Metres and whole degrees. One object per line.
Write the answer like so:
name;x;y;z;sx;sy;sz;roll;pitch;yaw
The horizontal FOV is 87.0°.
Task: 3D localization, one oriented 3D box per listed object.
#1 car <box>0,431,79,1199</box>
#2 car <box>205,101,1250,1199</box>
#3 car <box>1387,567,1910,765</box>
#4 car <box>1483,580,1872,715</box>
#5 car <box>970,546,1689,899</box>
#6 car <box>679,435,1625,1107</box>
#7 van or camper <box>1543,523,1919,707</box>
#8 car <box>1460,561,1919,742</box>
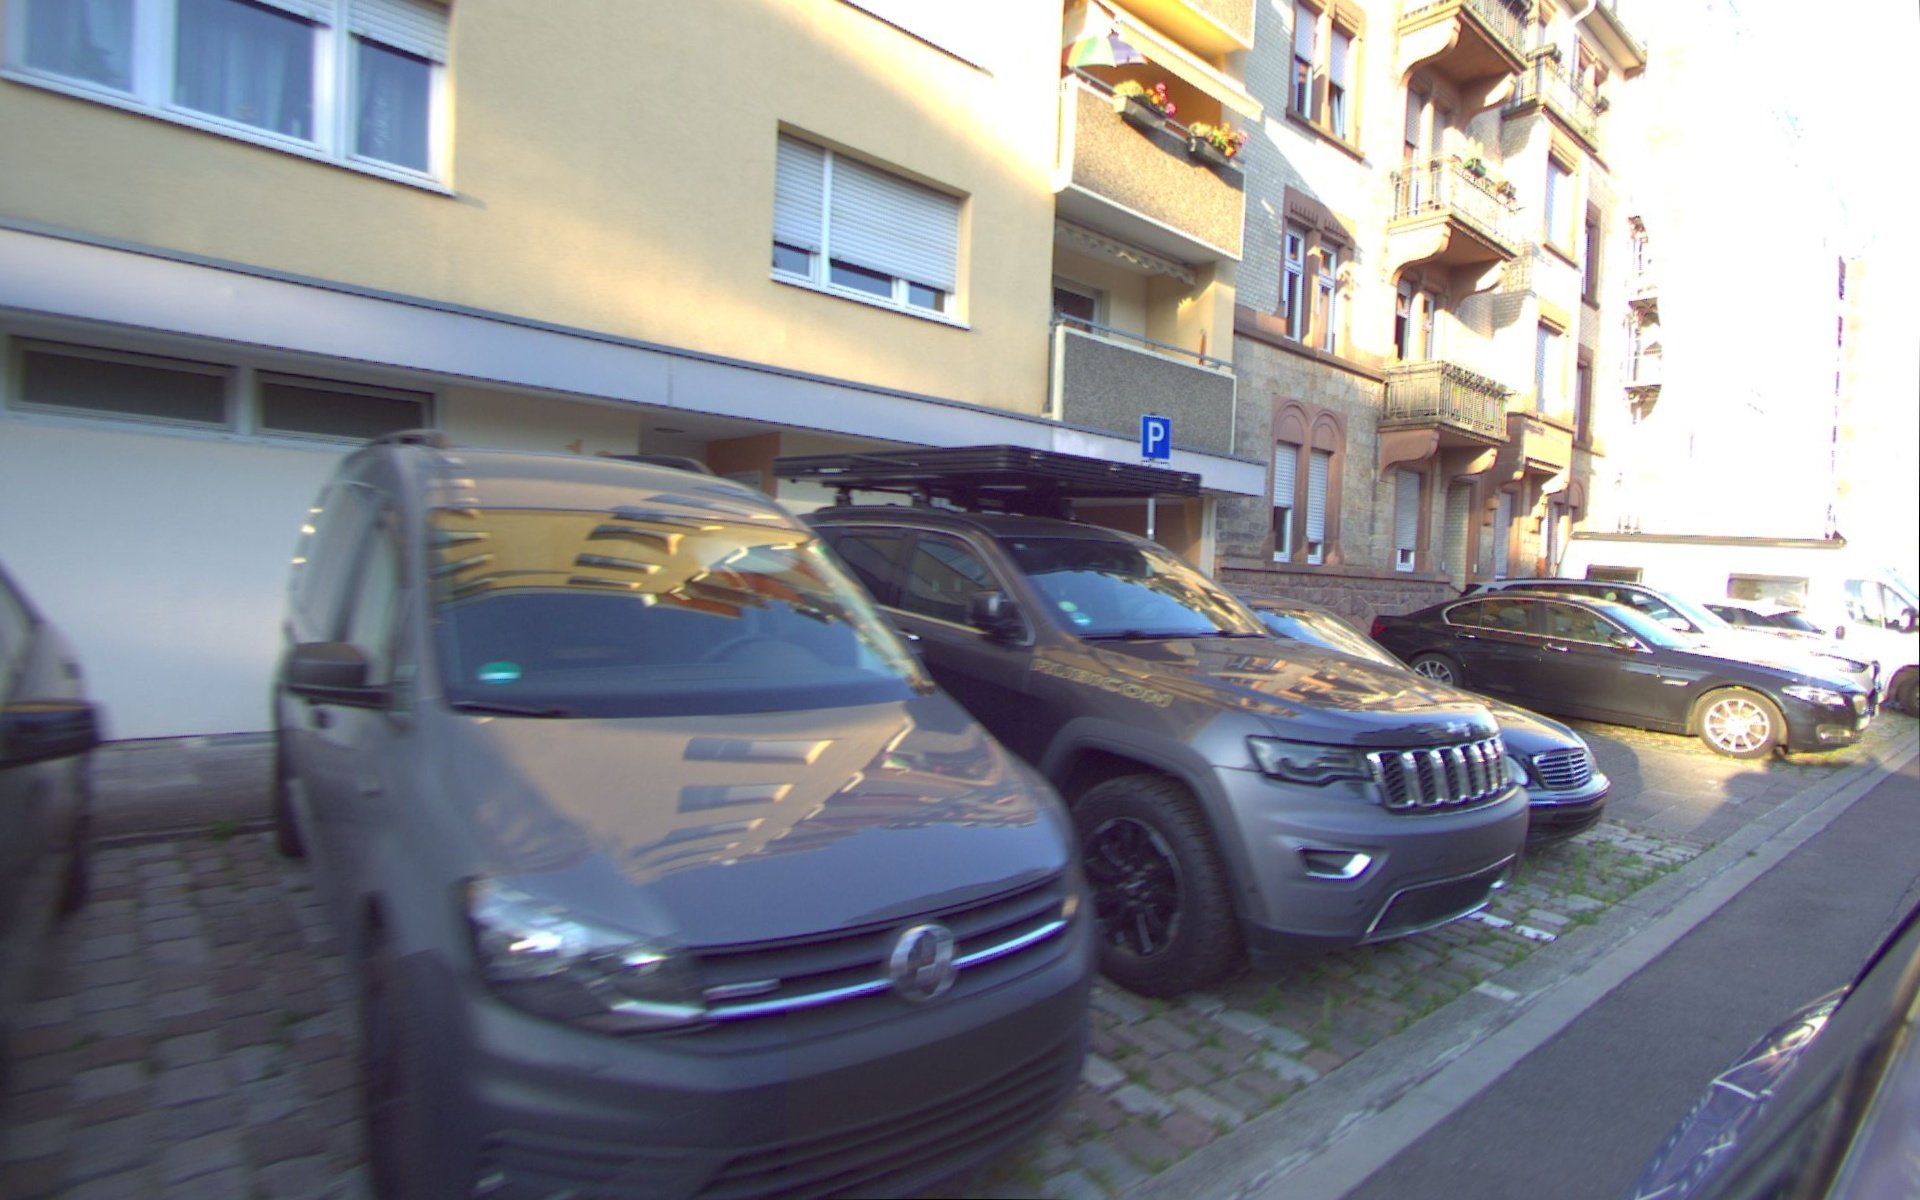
car;-3.105;0.478;2.127;1.814;1.581;4.414;-1;5;-40
car;-1.480;0.164;3.759;1.813;2.005;4.648;-1;5;-40
car;7.340;0.528;11.225;1.813;1.572;4.415;0;4;-39
car;10.533;0.583;15.168;1.812;1.639;4.414;1;1;-39
car;2.162;0.477;7.101;1.812;1.572;4.417;-1;4;-38
car;0.436;0.344;5.138;1.813;1.885;4.523;1;3;-41
van or camper;13.195;0.123;16.377;2.014;2.534;6.075;1;3;-40
car;9.113;0.487;12.997;1.812;1.769;4.416;1;3;-39
